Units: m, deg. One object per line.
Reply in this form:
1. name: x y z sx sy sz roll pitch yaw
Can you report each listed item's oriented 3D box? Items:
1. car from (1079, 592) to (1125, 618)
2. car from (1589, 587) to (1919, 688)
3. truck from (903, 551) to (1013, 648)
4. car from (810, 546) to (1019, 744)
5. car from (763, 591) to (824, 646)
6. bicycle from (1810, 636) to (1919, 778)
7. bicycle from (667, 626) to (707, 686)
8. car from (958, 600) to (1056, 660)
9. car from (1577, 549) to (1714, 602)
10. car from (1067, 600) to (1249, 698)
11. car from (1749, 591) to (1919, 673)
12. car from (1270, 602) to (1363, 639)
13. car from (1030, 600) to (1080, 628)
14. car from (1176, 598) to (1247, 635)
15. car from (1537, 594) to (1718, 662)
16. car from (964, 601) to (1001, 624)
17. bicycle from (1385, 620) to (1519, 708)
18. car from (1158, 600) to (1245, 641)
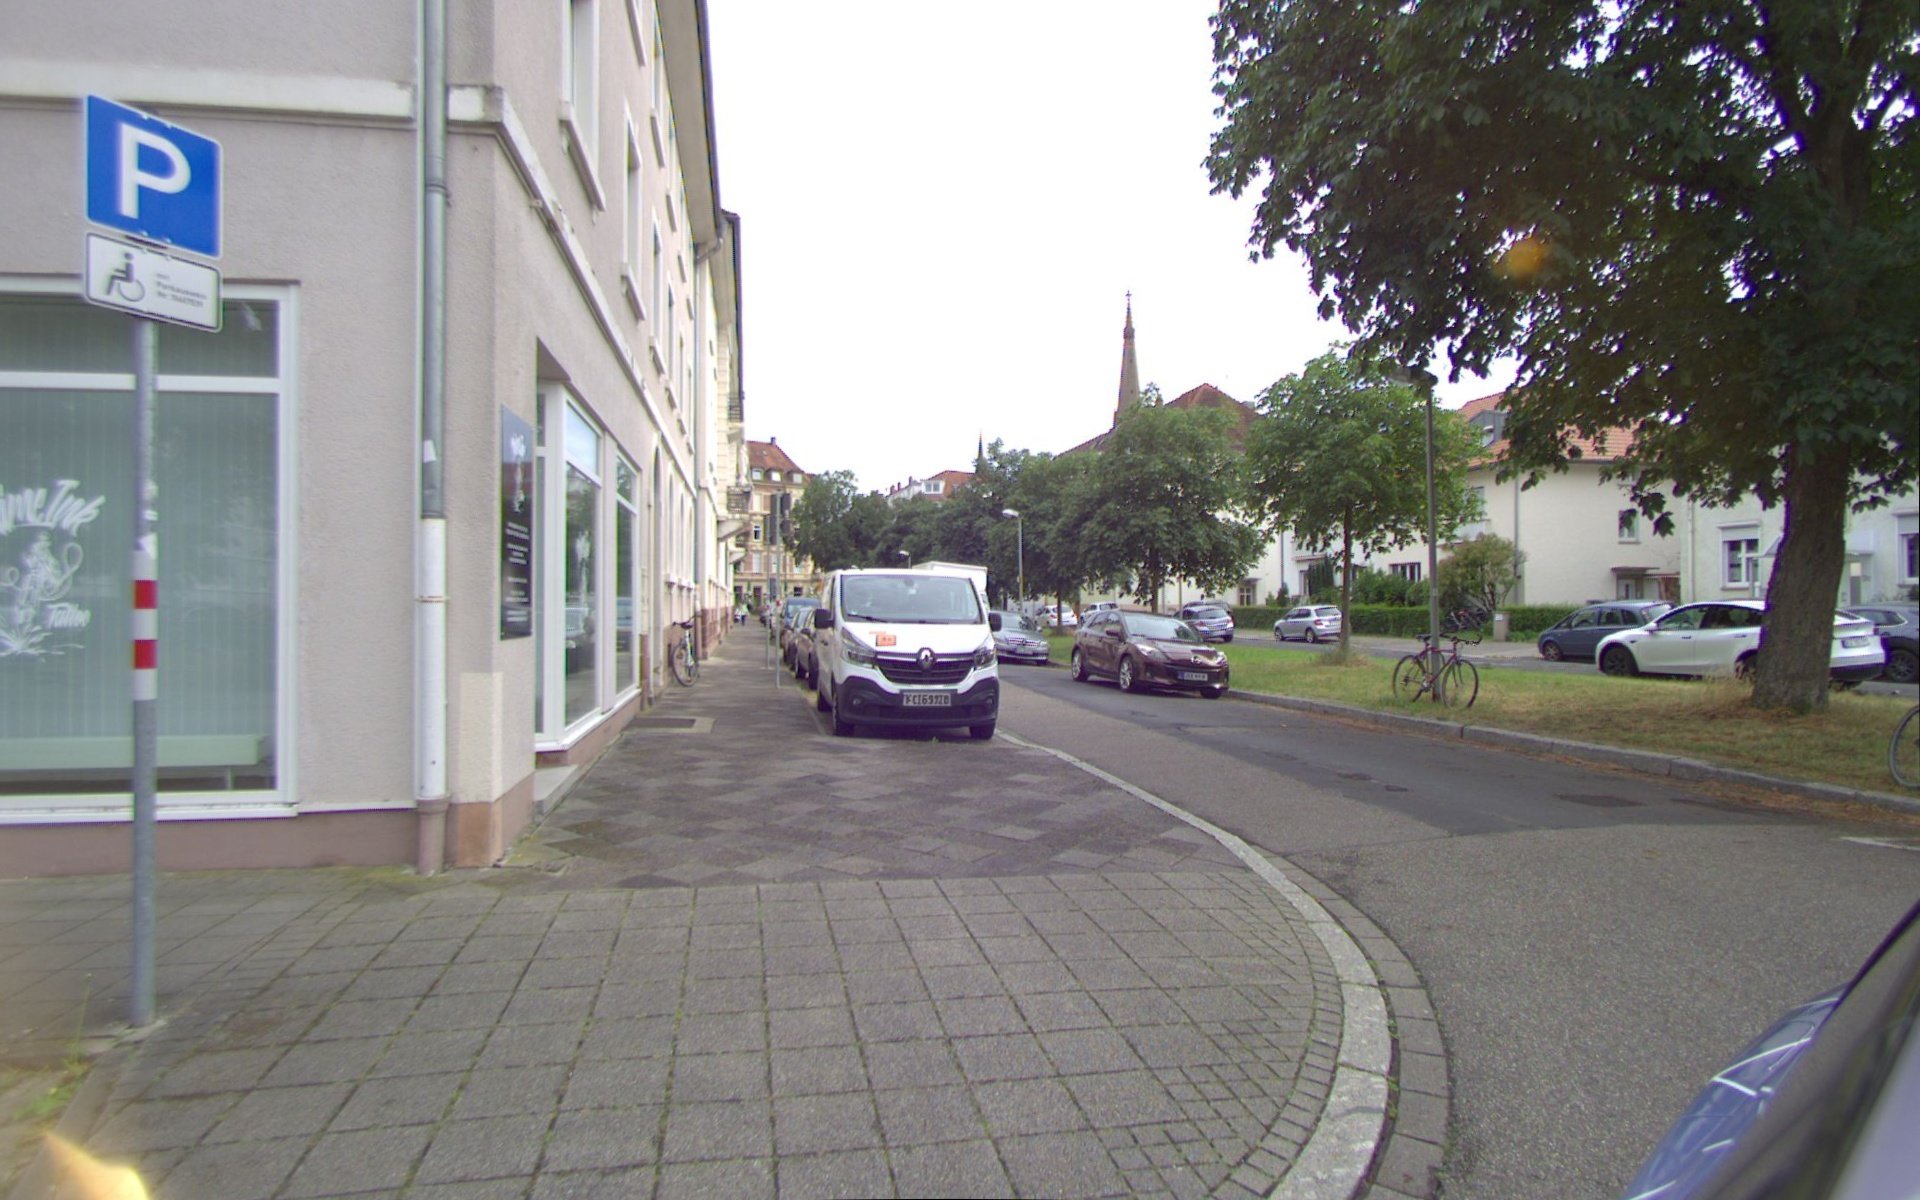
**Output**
1. car: 9.367 0.350 67.029 1.768 1.627 4.013 -2 0 -12
2. car: 14.333 0.596 18.542 1.863 1.586 4.892 0 0 -12
3. truck: -0.261 0.026 36.768 2.395 2.995 7.124 5 -2 -12
4. car: -0.812 0.493 12.942 1.845 2.021 5.021 1 -1 -12
5. car: -5.923 0.629 35.608 1.903 1.808 4.193 2 -1 -12
6. bicycle: 7.379 0.793 7.145 0.501 0.998 2.186 -3 0 -14
7. bicycle: -4.548 0.906 16.945 0.440 0.904 2.175 1 -1 -10
8. car: 1.250 0.819 29.090 1.680 1.477 4.455 4 -1 -12
9. car: 25.868 -0.908 38.246 3.918 1.749 2.003 -3 0 -11
10. car: 3.446 0.824 18.466 1.680 1.477 4.169 4 -1 -12
11. car: 19.188 0.625 21.064 1.684 1.519 4.174 -3 0 -12
12. car: 14.559 0.811 41.589 1.768 1.372 3.948 -2 0 -12
13. car: 5.489 0.782 58.881 1.768 1.507 4.013 -2 0 -12
14. car: 12.774 0.803 51.675 1.768 1.694 4.108 -4 1 -12
15. car: 17.813 0.716 27.234 1.684 1.622 3.892 -3 0 -13
16. car: 1.698 0.925 78.054 1.930 1.660 4.013 -2 0 -12
17. bicycle: 6.669 0.833 13.837 0.654 1.080 1.888 0 0 -10
18. car: 9.597 0.797 40.520 1.768 1.507 4.013 -2 0 -12
